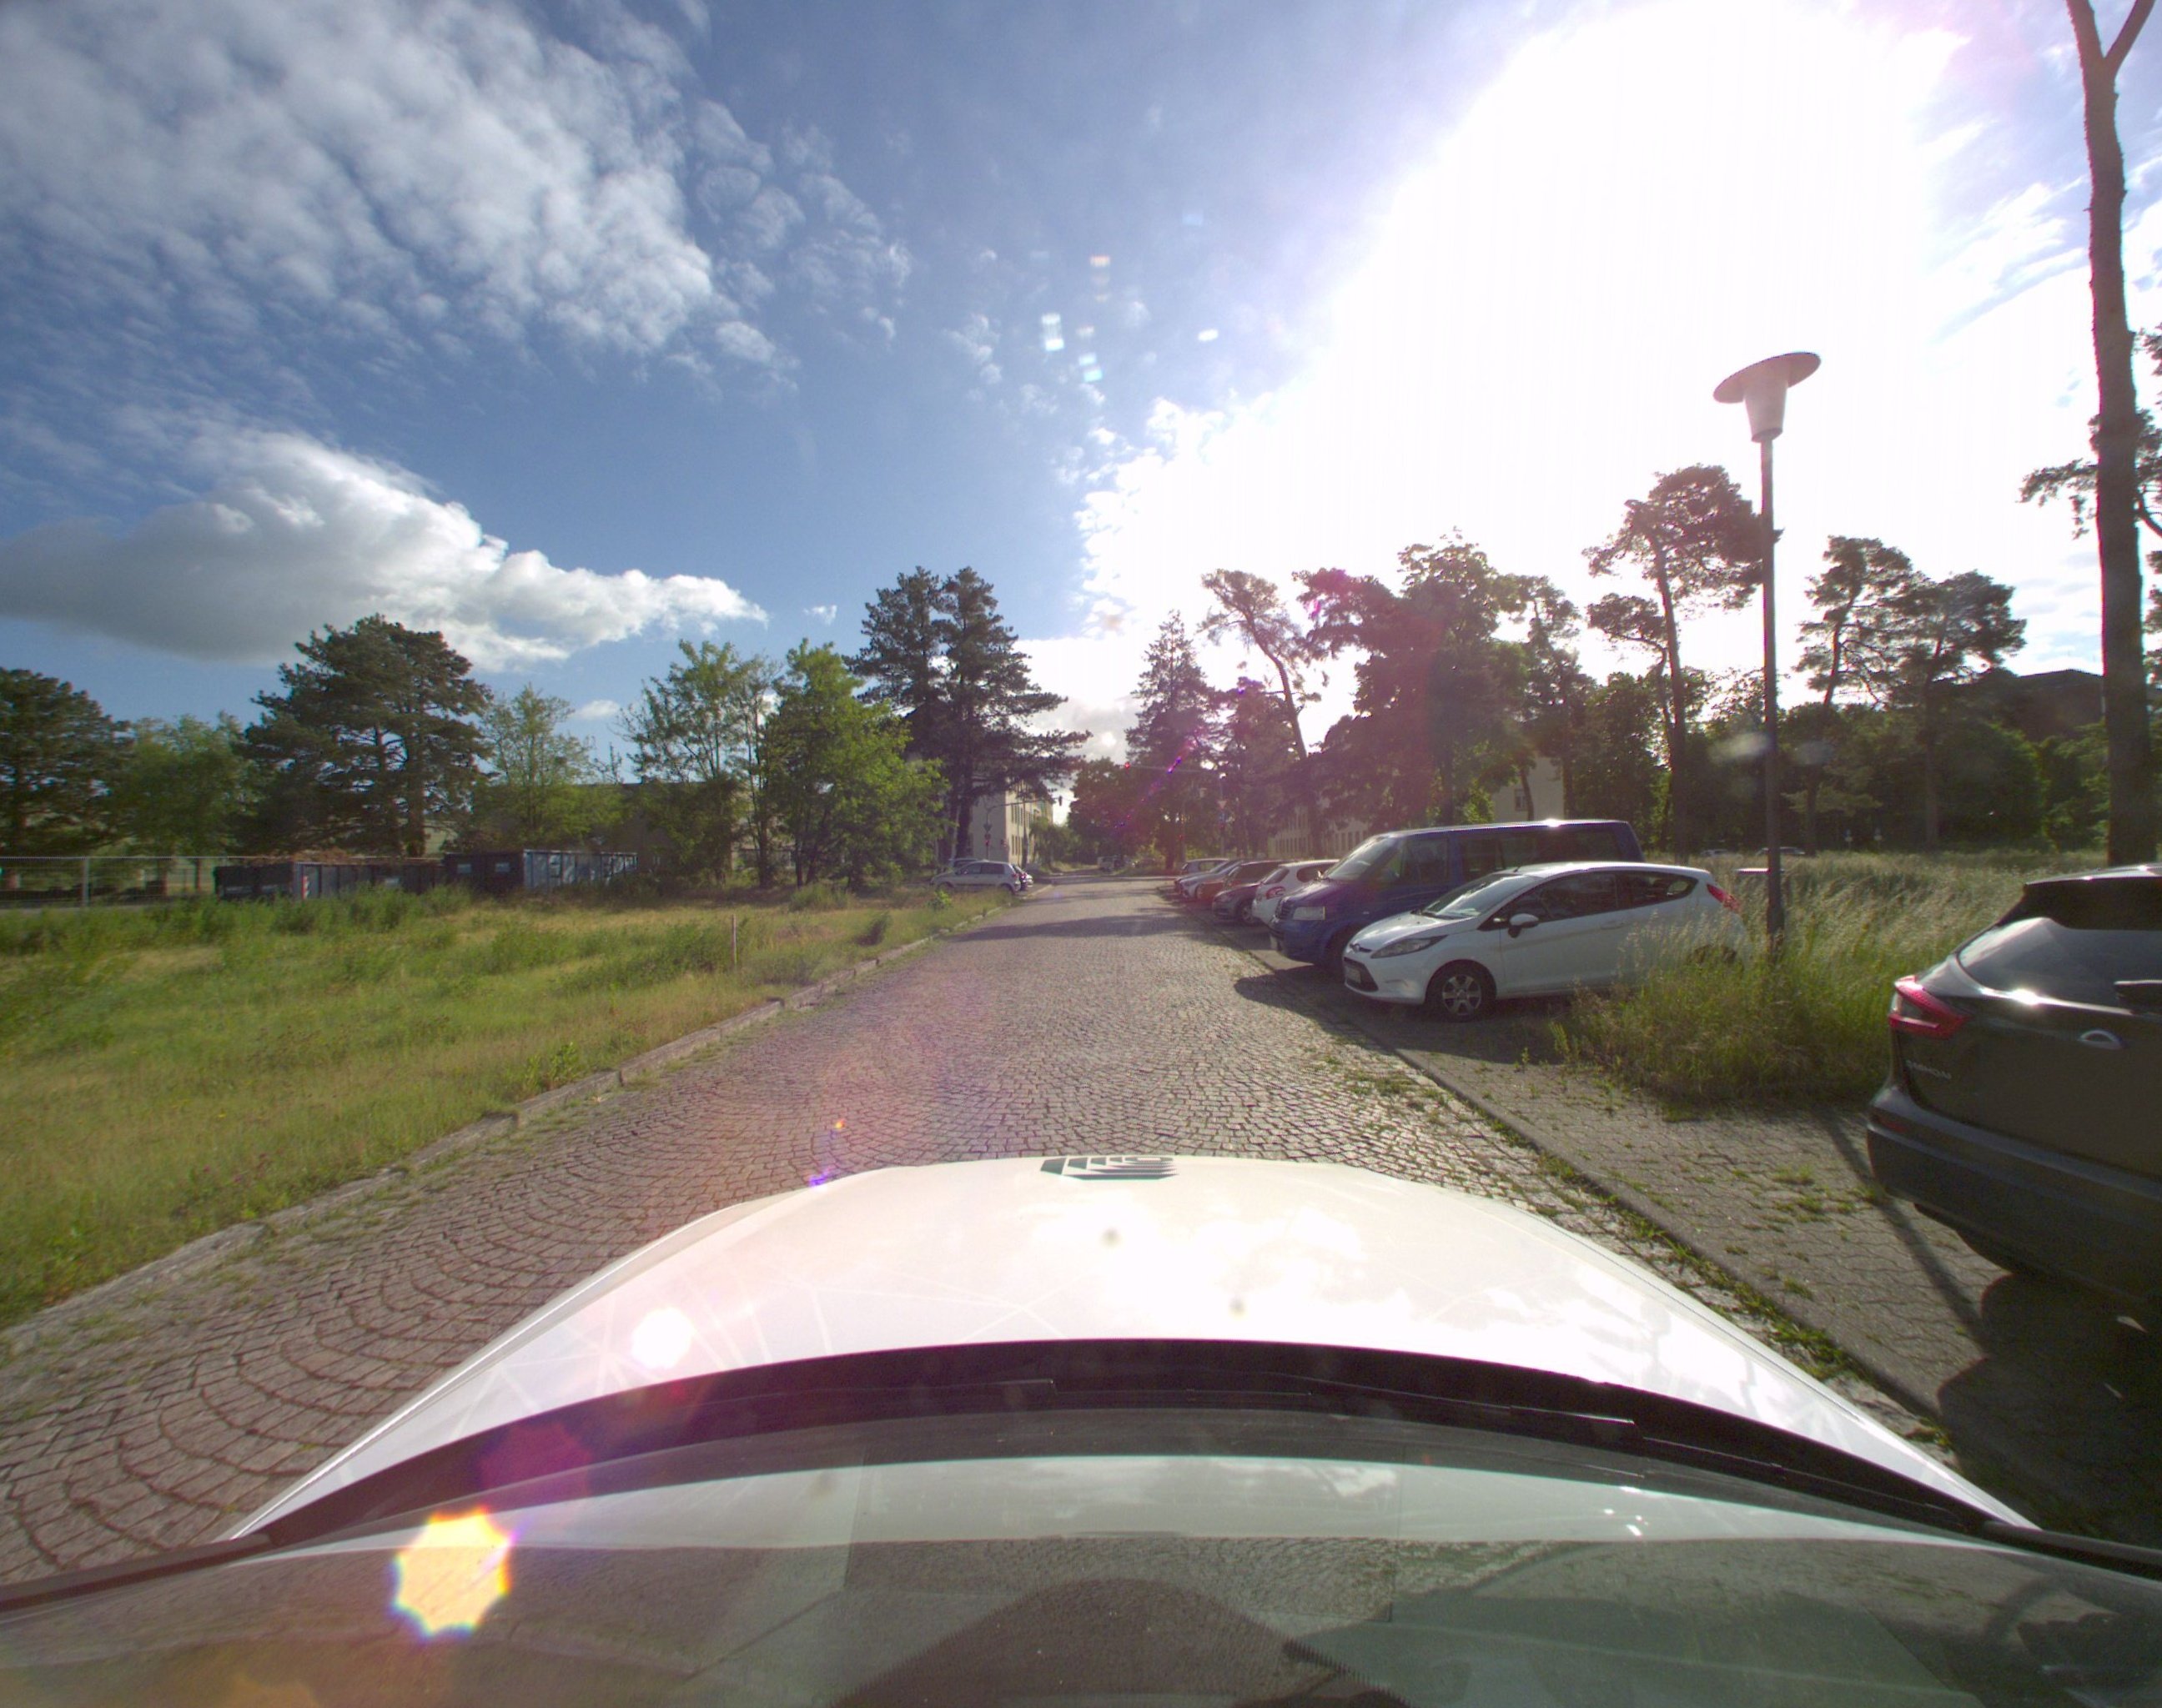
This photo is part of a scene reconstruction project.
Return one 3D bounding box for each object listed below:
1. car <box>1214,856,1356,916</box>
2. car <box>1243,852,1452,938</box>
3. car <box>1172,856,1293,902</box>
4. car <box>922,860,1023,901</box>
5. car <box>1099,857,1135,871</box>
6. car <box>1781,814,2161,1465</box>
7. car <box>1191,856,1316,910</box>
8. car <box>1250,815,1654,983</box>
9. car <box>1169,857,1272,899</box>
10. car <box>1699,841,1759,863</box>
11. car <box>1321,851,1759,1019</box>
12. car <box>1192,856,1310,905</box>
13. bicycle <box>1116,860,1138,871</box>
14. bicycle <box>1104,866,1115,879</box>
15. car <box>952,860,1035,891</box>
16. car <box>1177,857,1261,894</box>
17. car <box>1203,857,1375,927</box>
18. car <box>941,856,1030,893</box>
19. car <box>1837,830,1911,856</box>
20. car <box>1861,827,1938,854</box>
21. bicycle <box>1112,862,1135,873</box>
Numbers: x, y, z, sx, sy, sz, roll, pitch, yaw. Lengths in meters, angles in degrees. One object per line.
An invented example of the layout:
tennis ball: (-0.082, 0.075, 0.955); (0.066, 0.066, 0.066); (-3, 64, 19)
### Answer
car: (5.520, 0.843, 22.282); (3.466, 1.529, 1.645); (-1, 0, 0)
car: (5.276, 0.791, 16.478); (3.679, 1.466, 1.646); (-3, -1, 2)
car: (5.435, 0.891, 29.520); (4.024, 1.529, 1.644); (-1, 0, -2)
car: (-4.512, 1.089, 34.387); (3.975, 1.600, 1.999); (-1, 0, -1)
car: (4.461, 1.202, 101.466); (4.464, 1.728, 2.000); (0, 0, 1)
car: (4.645, 0.676, 2.230); (3.923, 1.621, 1.772); (-1, 0, 0)
car: (5.229, 0.864, 24.982); (3.466, 1.529, 1.645); (-1, 0, 0)
car: (4.904, 0.563, 11.308); (4.664, 2.014, 2.082); (-1, 0, -2)
car: (5.476, 0.932, 32.292); (3.823, 1.529, 1.645); (-1, 0, 0)
car: (60.477, -0.177, 76.051); (3.972, 2.014, 2.001); (-1, 0, 1)
car: (4.652, 0.773, 8.631); (3.708, 1.488, 1.645); (-2, 0, -1)
car: (5.650, 0.872, 27.331); (3.591, 1.529, 1.645); (-1, 0, 0)
bicycle: (4.839, 1.195, 85.294); (2.172, 1.100, 0.805); (0, -1, -8)
bicycle: (2.780, 1.795, 80.551); (0.803, 1.169, 2.177); (-3, 0, -4)
car: (-4.464, 1.100, 42.181); (3.973, 1.453, 2.000); (2, 0, 1)
car: (5.865, 0.919, 34.925); (3.332, 1.483, 1.645); (-1, 0, 0)
car: (4.857, 0.866, 19.376); (3.663, 1.467, 1.645); (-2, -1, 0)
car: (-4.616, 0.984, 39.784); (3.973, 1.601, 2.000); (2, 0, 1)
car: (64.336, -0.848, 66.093); (3.972, 2.014, 2.001); (-1, 0, 1)
car: (64.297, -1.066, 64.022); (3.972, 2.014, 2.001); (-1, 0, 1)
bicycle: (4.386, 1.426, 83.982); (2.172, 1.100, 0.805); (0, -1, -8)
